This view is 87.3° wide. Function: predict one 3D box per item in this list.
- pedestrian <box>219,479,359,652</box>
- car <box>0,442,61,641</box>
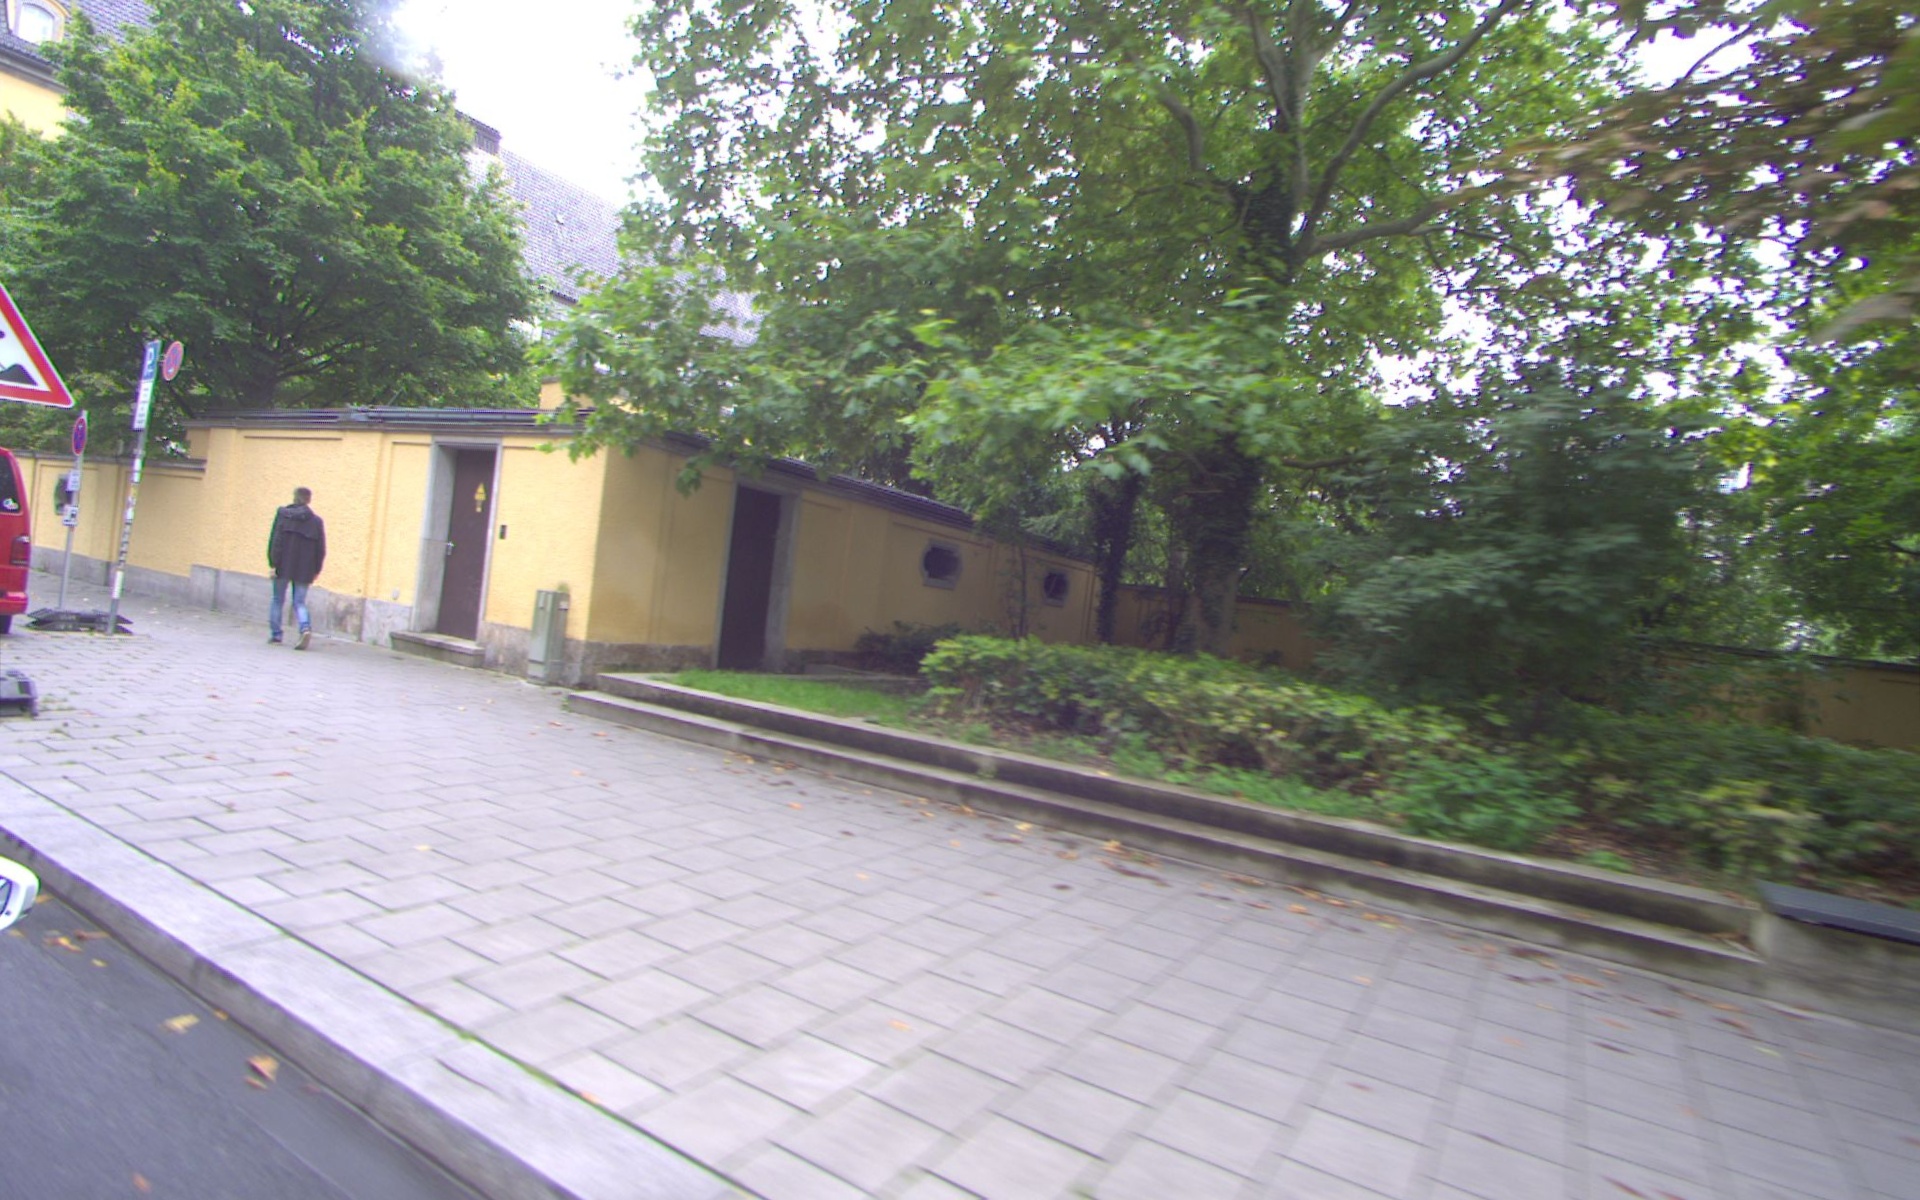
[{"bbox_3d":[-7.779,-0.390,11.668,1.035,1.854,0.874,7,1,33],"label":"pedestrian"},{"bbox_3d":[-11.312,-0.801,10.148,4.635,1.862,1.993,6,1,31],"label":"car"}]
